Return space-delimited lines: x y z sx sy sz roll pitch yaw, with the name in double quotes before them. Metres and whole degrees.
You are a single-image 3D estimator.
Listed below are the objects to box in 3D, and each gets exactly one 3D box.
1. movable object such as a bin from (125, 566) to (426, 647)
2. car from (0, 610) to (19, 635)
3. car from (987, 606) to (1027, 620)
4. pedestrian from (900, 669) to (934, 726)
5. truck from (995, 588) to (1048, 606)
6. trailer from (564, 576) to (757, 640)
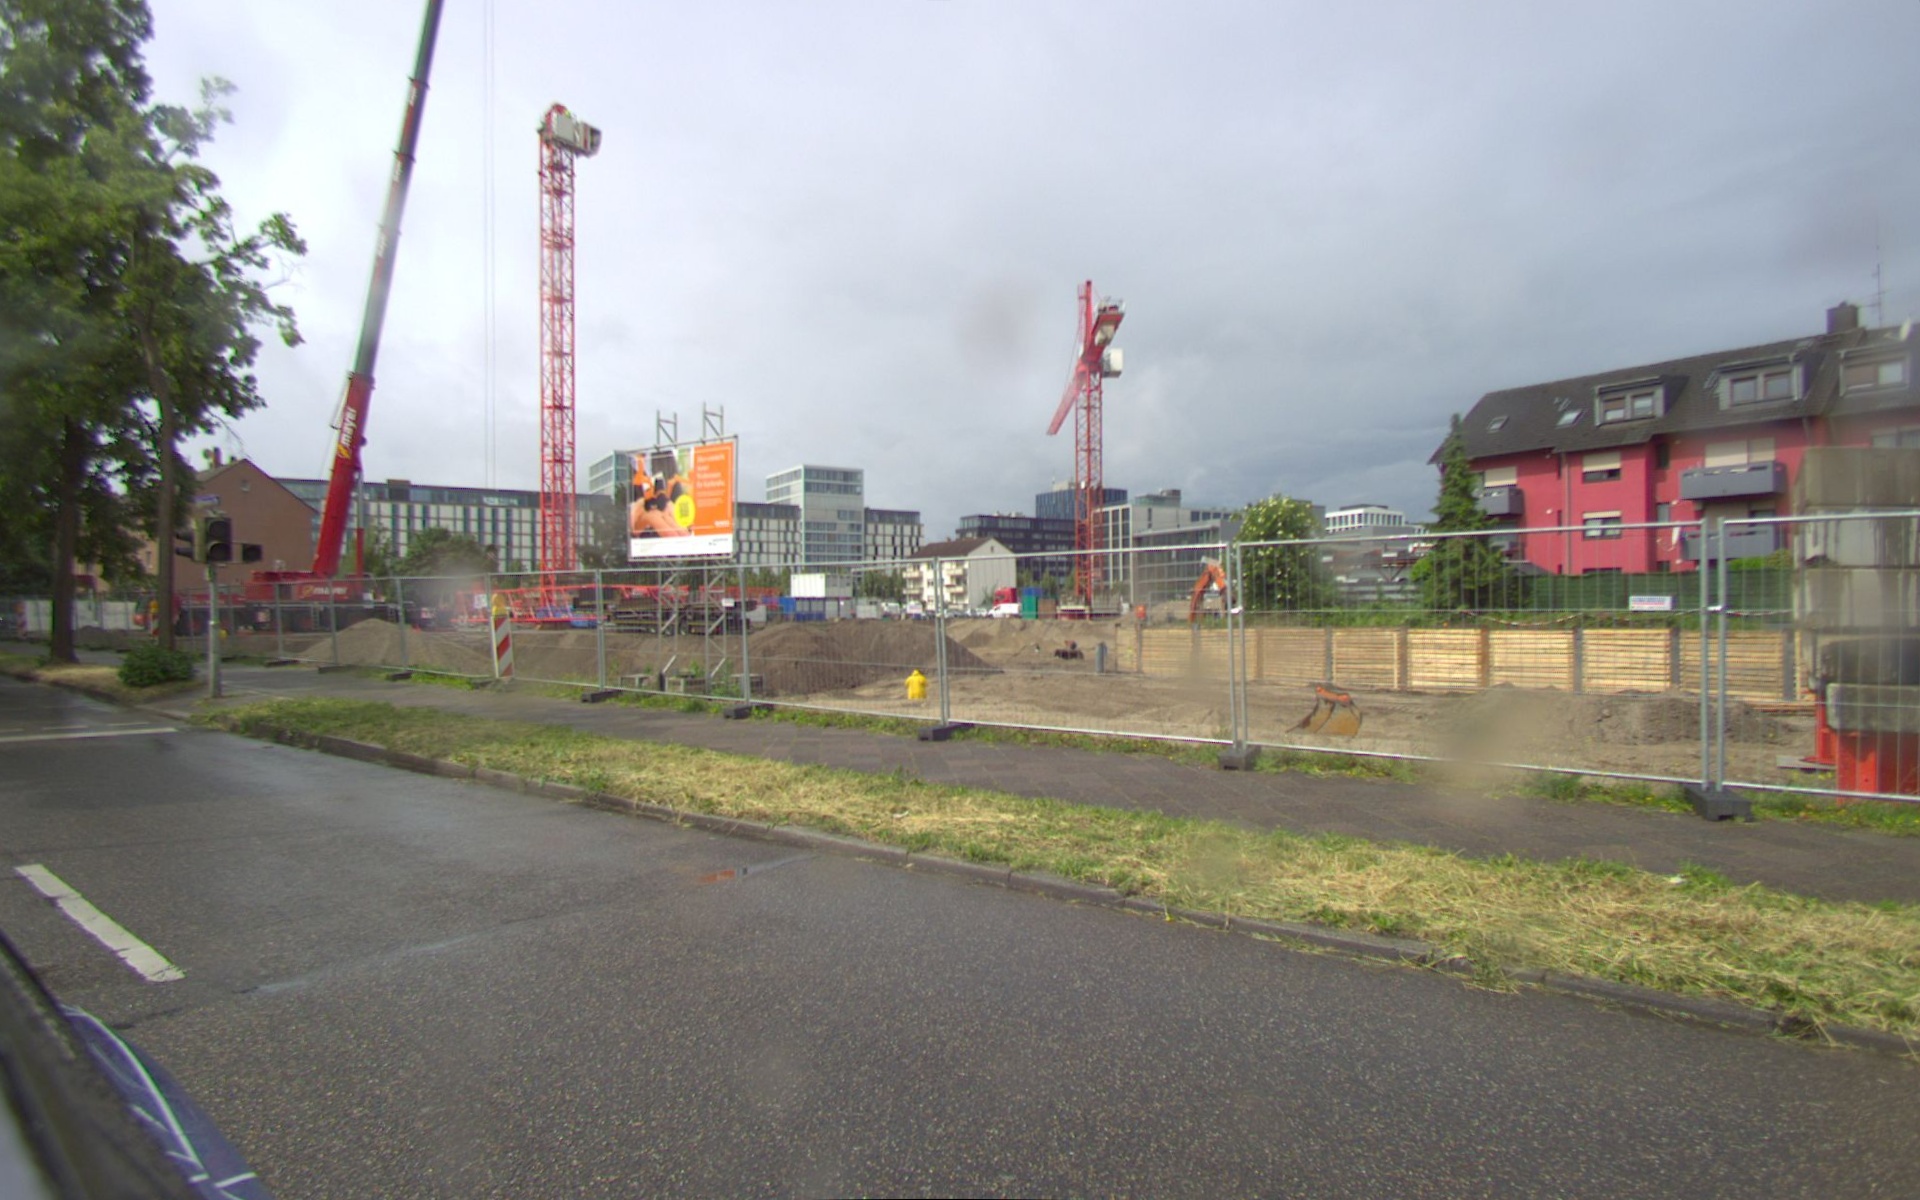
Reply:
"movable object such as a bin" -43.396 0.146 65.278 3.100 4.592 15.741 0 2 41
"car" -65.110 1.522 68.284 3.992 1.541 1.674 0 2 36
"car" 5.606 1.520 121.083 4.579 1.529 1.798 0 2 41
"pedestrian" -1.340 3.007 31.333 0.849 1.698 0.580 -1 -4 43
"truck" 7.698 -0.356 126.242 6.285 2.095 1.886 0 1 22
"trailer" -17.753 0.382 59.044 14.290 3.256 2.933 0 3 38
